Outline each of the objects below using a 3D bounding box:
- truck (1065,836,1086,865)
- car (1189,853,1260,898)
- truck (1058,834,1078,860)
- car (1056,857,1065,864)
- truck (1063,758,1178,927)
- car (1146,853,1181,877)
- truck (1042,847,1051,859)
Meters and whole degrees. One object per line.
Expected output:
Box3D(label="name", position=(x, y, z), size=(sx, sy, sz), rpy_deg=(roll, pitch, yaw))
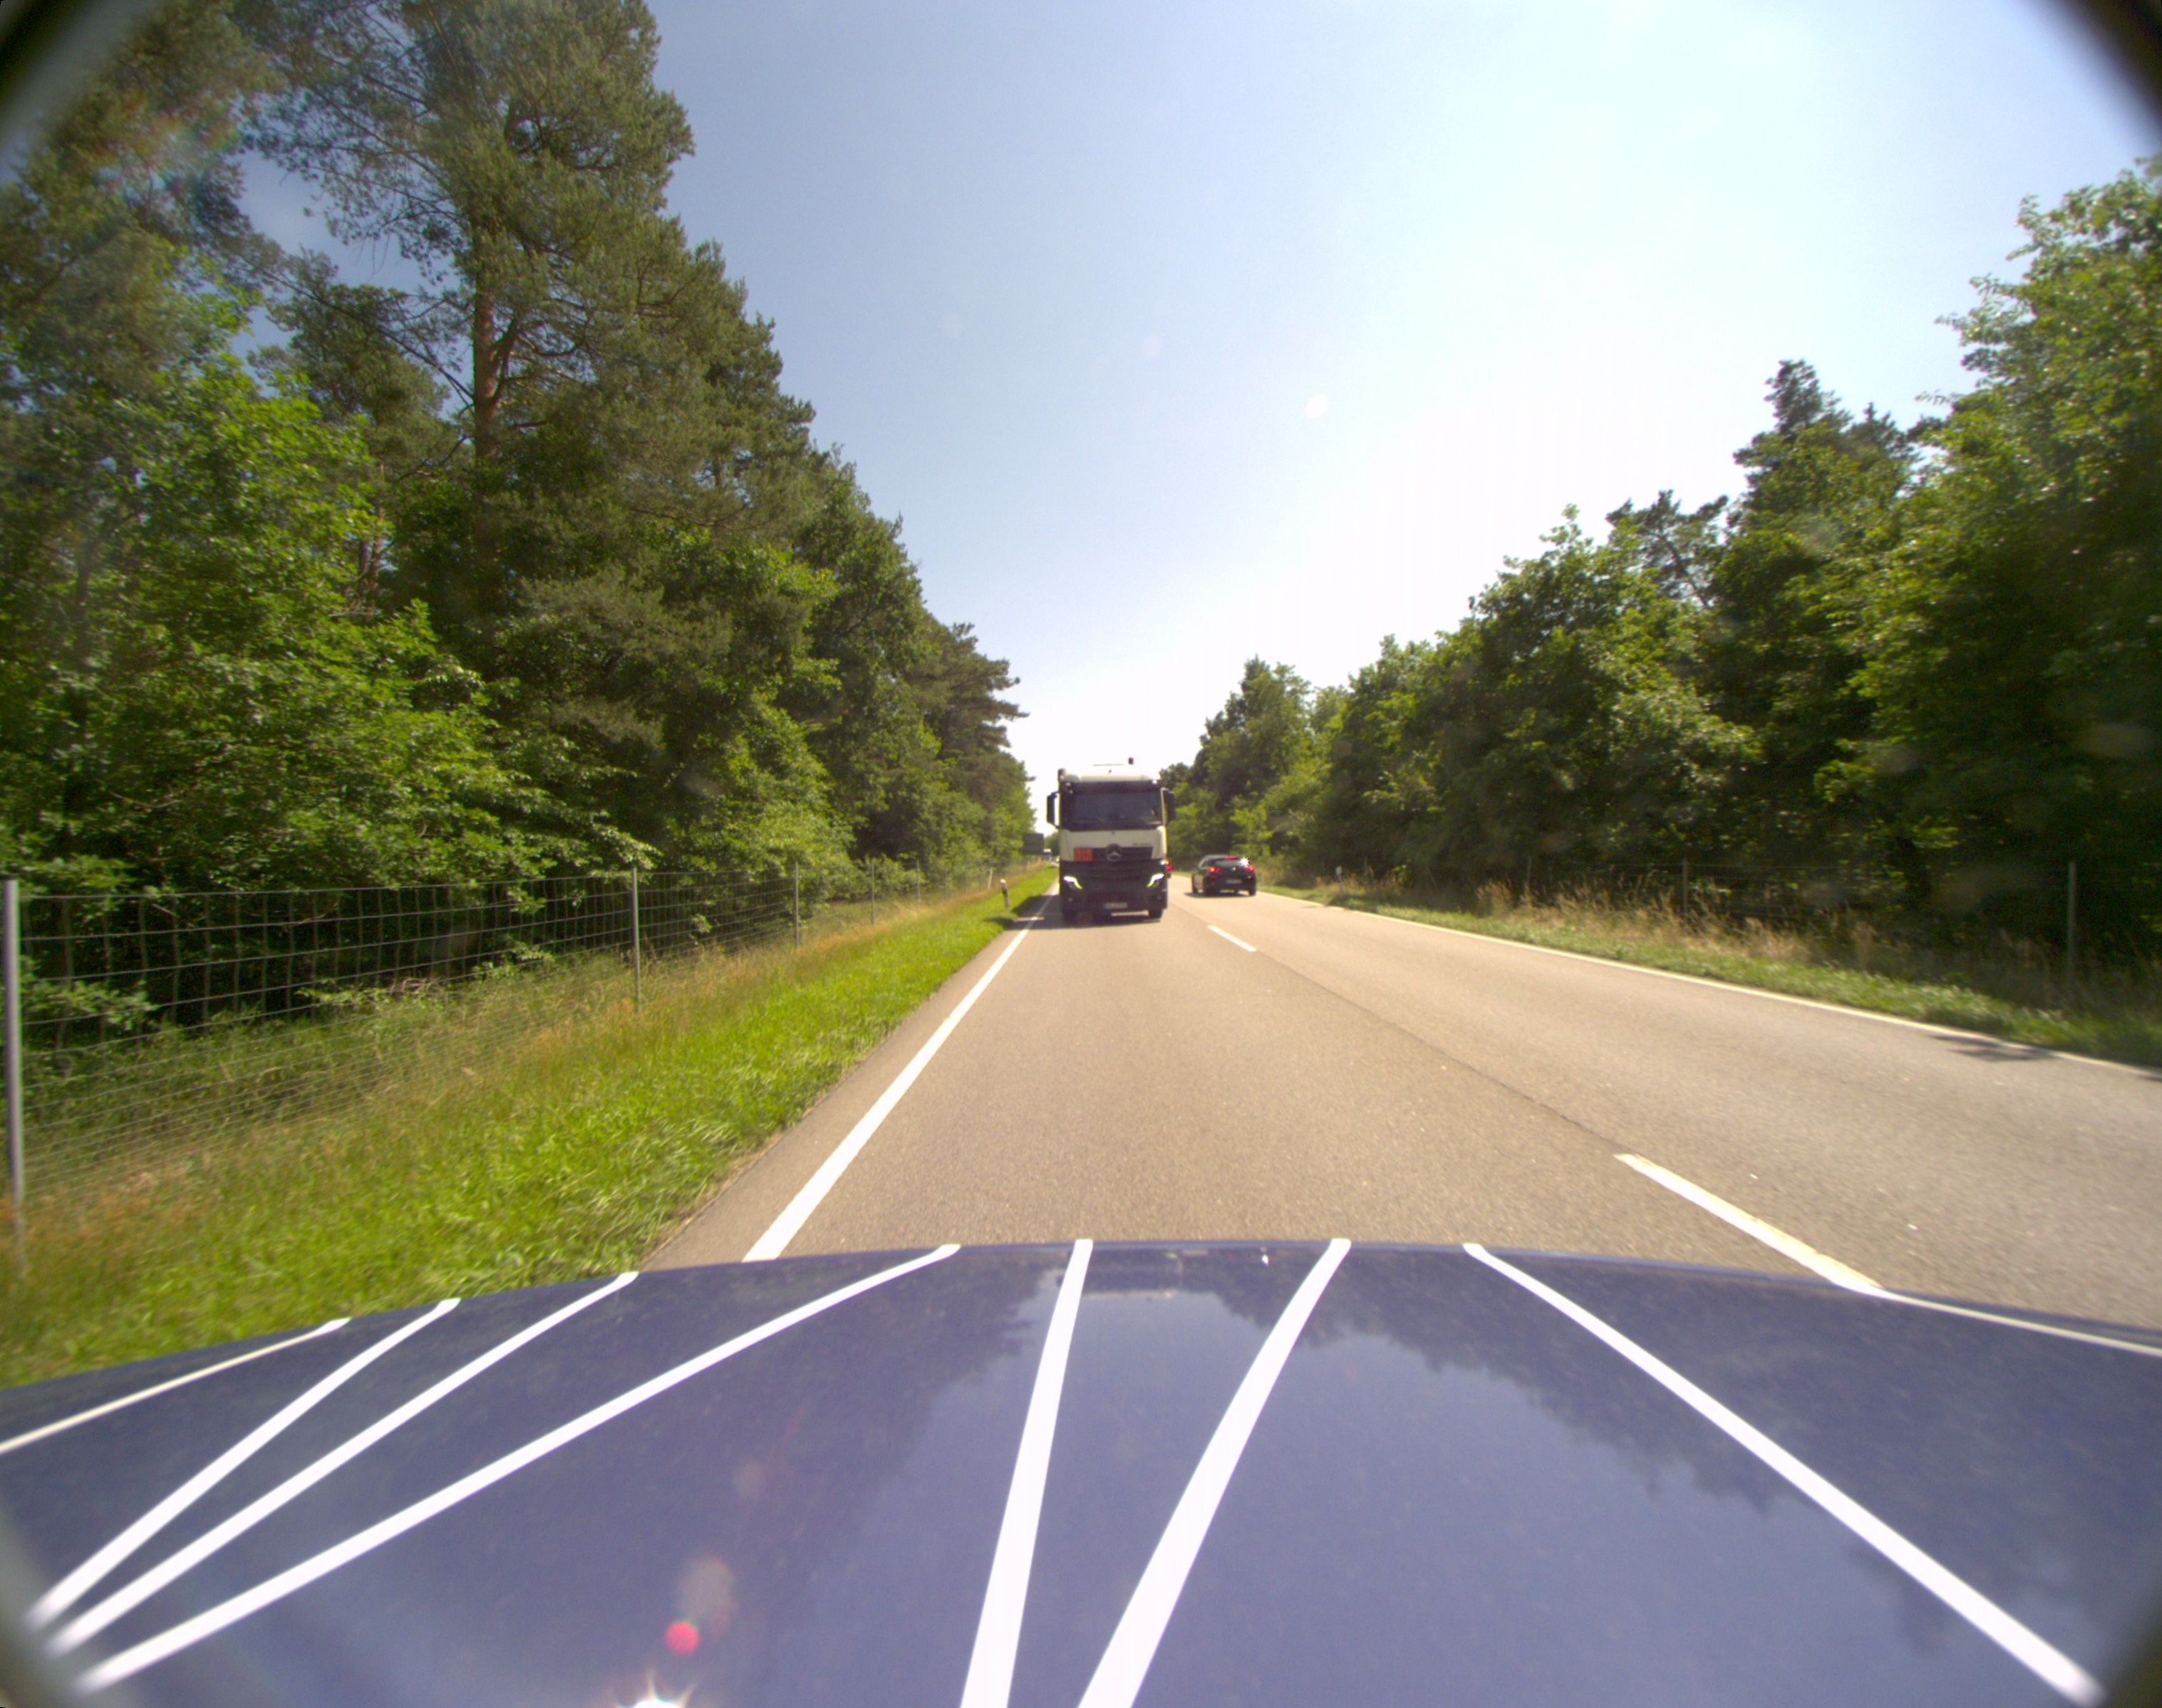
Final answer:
Box3D(label="truck", position=(-0.704, -0.482, 99.987), size=(2.493, 3.619, 6.104), rpy_deg=(-2, 0, 1))
Box3D(label="car", position=(5.116, 0.717, 27.585), size=(1.733, 1.447, 4.061), rpy_deg=(-1, 0, -1))
Box3D(label="truck", position=(-1.900, -0.967, 110.434), size=(2.493, 3.619, 6.104), rpy_deg=(-2, 0, 1))
Box3D(label="car", position=(-4.547, 1.383, 168.050), size=(1.885, 1.461, 3.999), rpy_deg=(-1, 0, -2))
Box3D(label="truck", position=(0.809, -0.240, 20.025), size=(2.435, 3.672, 6.456), rpy_deg=(-2, 0, -1))
Box3D(label="car", position=(5.252, 0.663, 48.900), size=(1.784, 1.443, 3.793), rpy_deg=(-1, 0, 0))
Box3D(label="truck", position=(-11.230, -0.271, 249.285), size=(2.495, 3.619, 6.100), rpy_deg=(-1, 0, -6))
